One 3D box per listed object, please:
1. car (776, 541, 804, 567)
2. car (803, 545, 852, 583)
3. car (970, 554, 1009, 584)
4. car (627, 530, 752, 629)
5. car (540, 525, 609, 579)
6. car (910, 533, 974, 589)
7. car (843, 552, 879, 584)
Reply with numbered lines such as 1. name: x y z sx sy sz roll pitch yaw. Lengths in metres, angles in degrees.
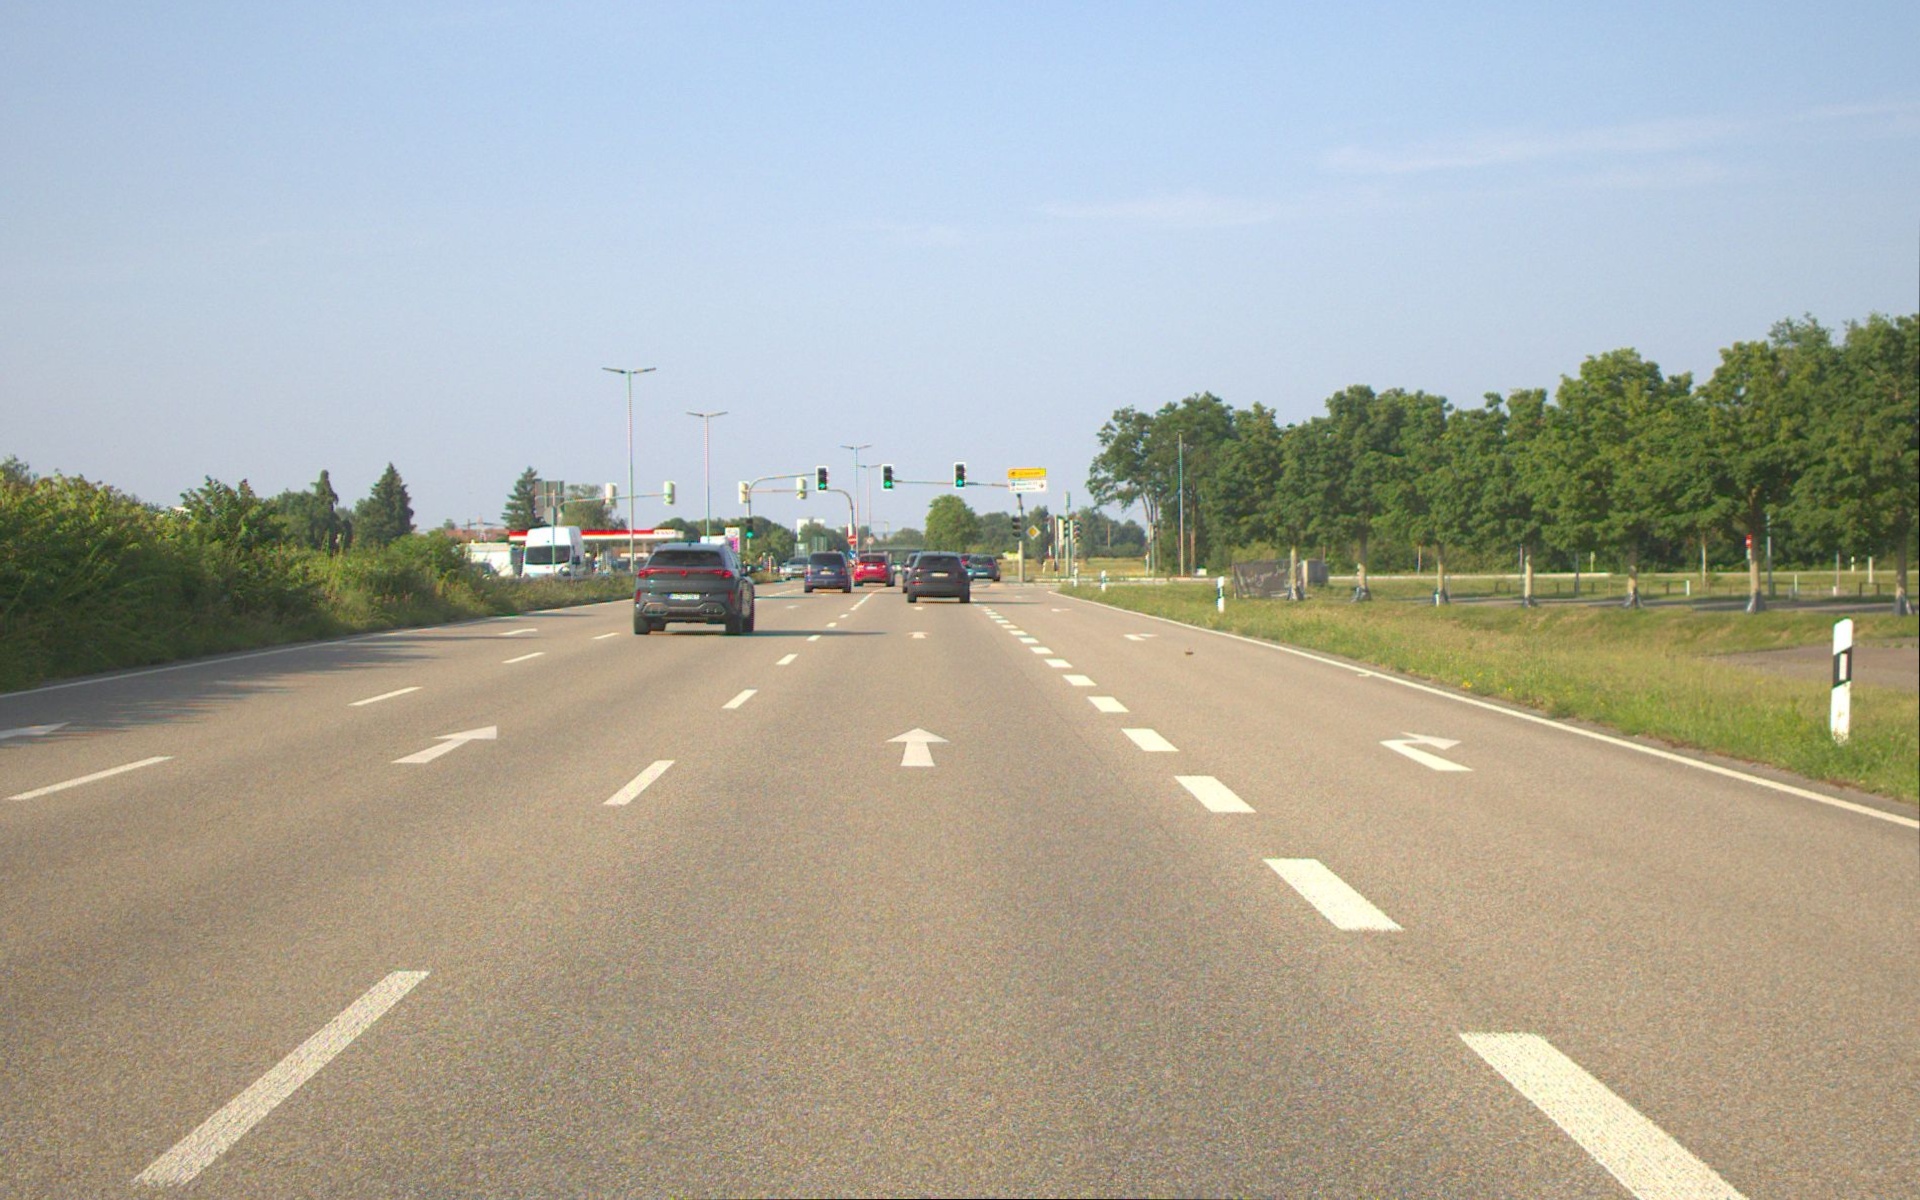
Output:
1. car: -10.638 -2.902 215.409 1.600 1.527 4.000 2 1 -1
2. car: -5.292 -1.451 137.711 1.812 1.458 4.401 2 1 -1
3. car: 1.631 -1.704 191.050 1.946 1.630 3.448 1 0 -2
4. car: -4.681 -0.376 59.987 1.845 1.606 4.401 2 1 -1
5. car: -15.341 -1.888 137.140 2.161 2.028 6.323 1 0 -1
6. car: -0.591 -1.238 109.056 1.932 1.674 4.401 2 1 -1
7. car: -4.787 -1.562 166.850 1.647 1.458 3.981 2 1 -1
